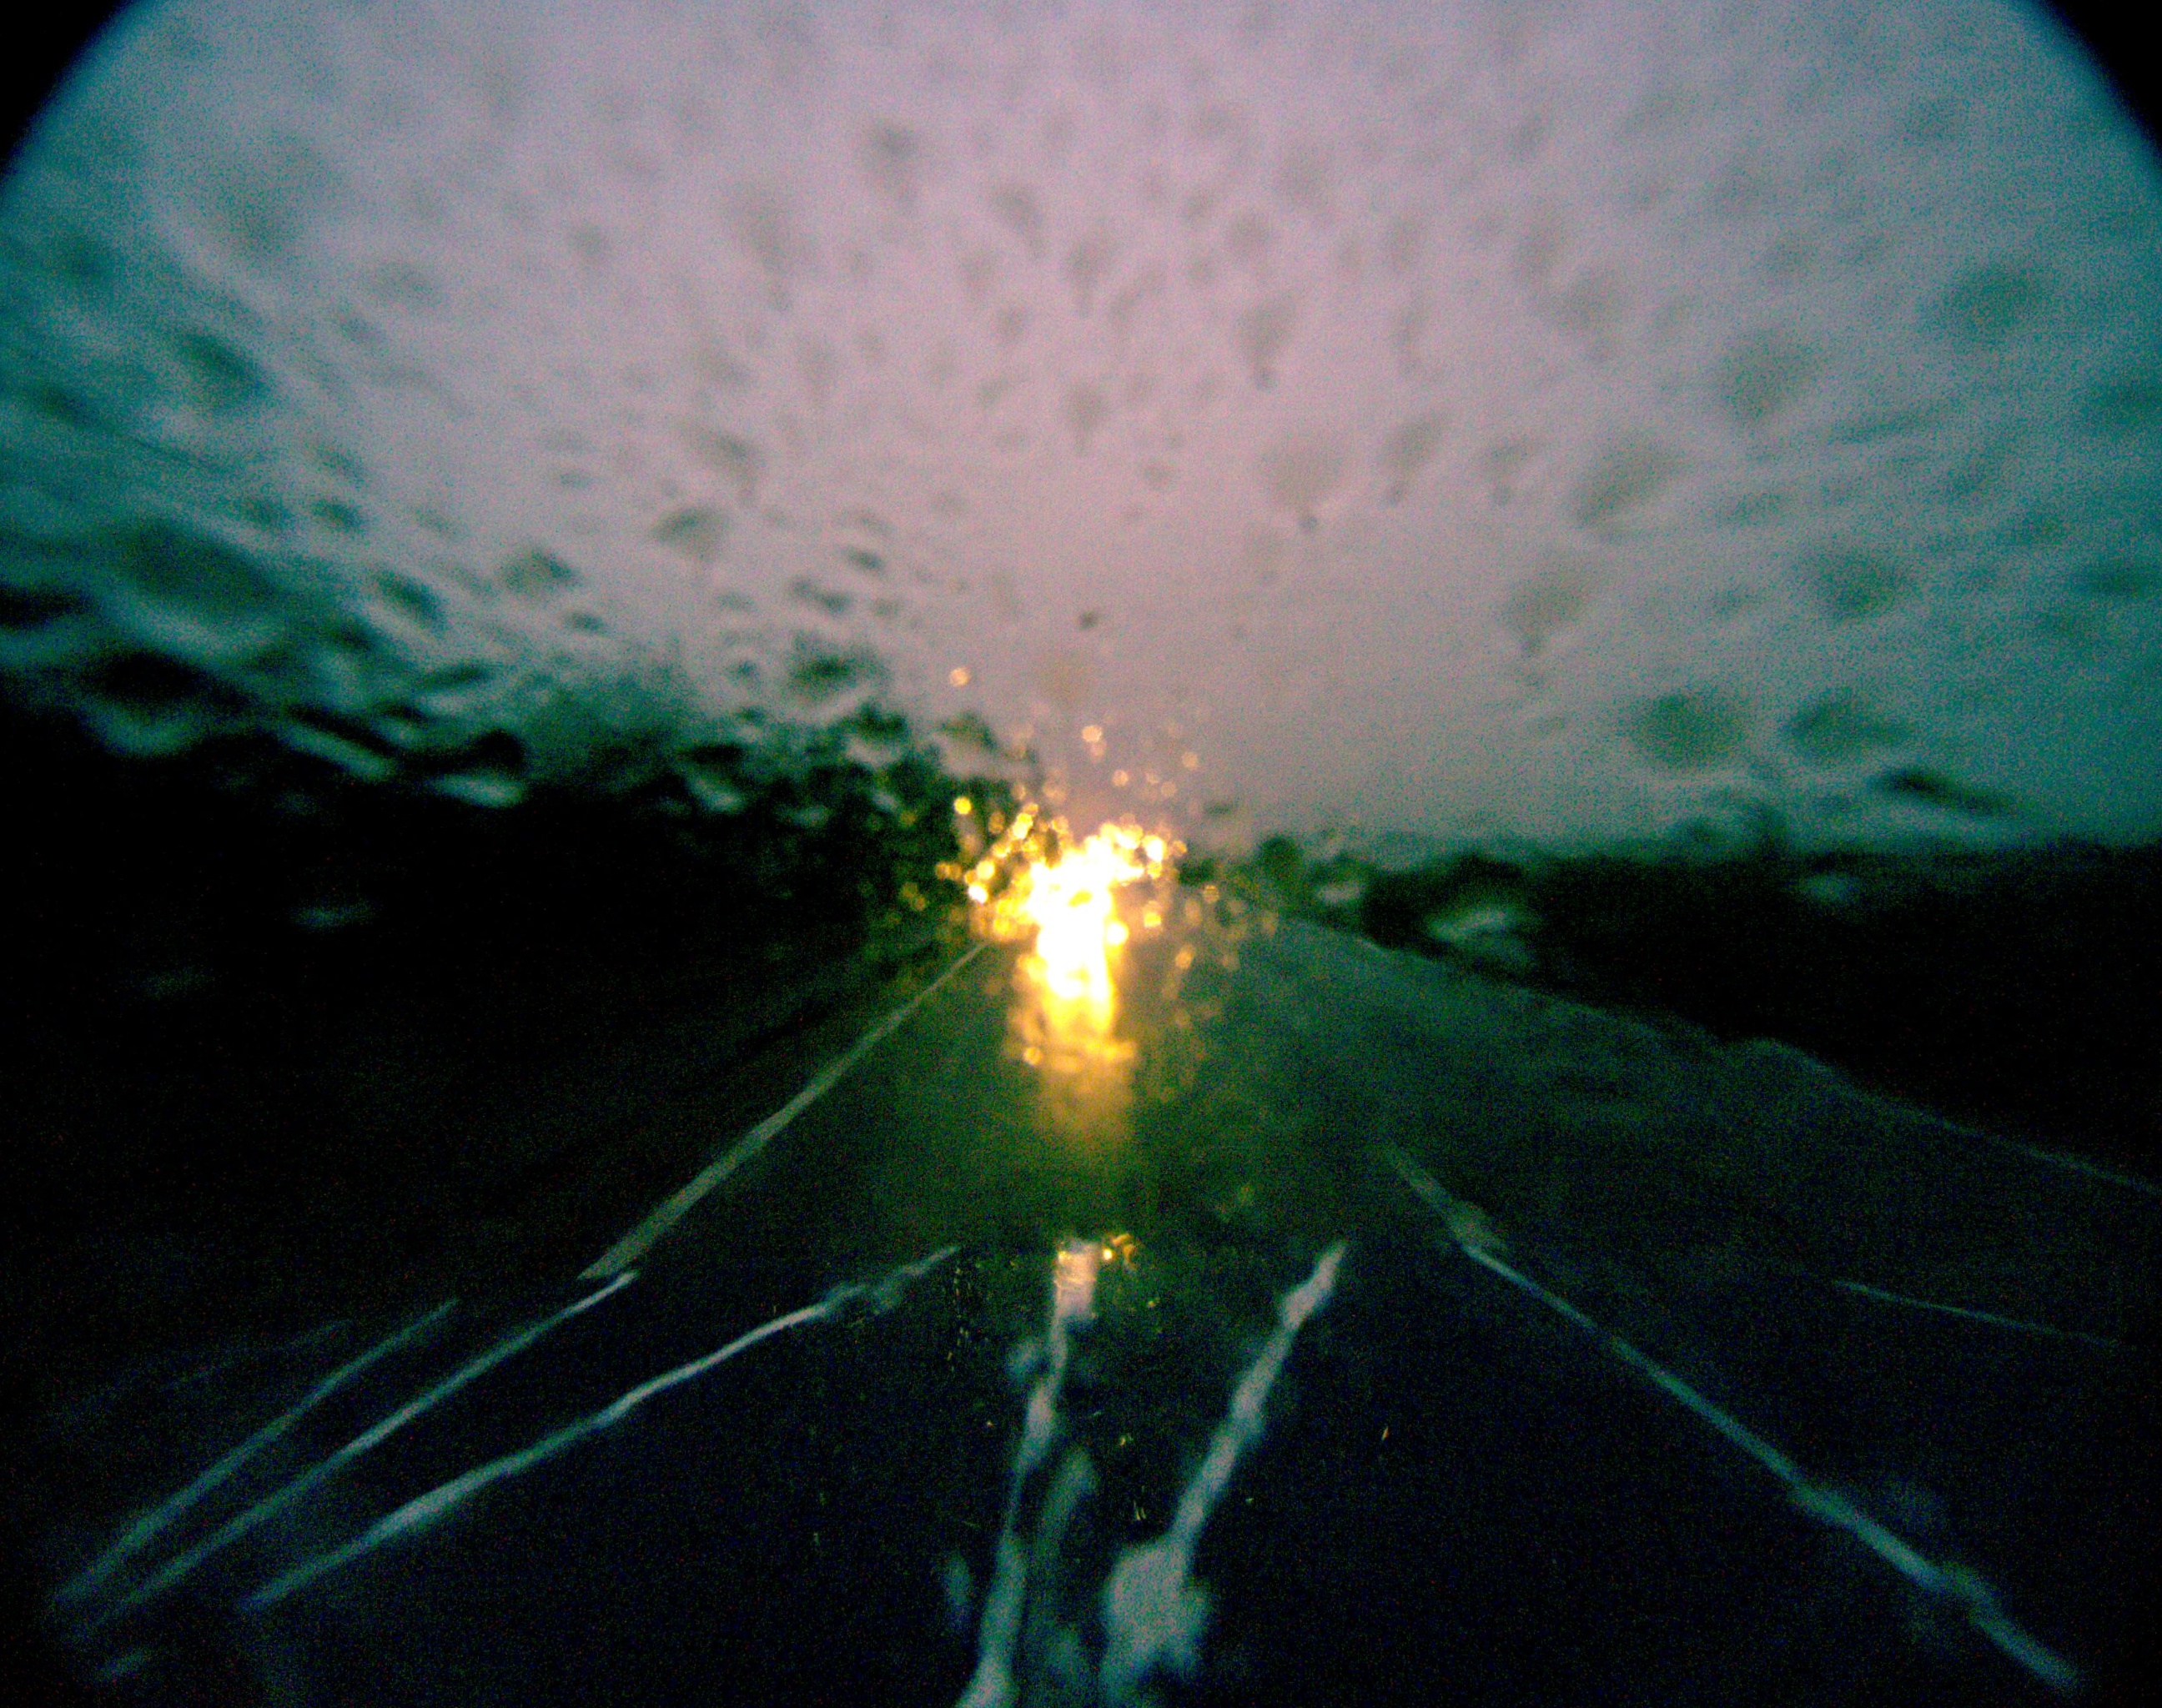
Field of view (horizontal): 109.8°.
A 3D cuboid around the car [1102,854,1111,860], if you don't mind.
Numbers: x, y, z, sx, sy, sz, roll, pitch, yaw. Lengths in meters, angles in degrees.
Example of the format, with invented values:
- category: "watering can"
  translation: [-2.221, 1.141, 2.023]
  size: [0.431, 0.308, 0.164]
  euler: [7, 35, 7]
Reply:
- category: "car"
  translation: [6.338, 0.666, 188.669]
  size: [1.998, 1.364, 4.397]
  euler: [-2, 1, 1]

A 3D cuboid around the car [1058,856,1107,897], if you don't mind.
- category: "car"
  translation: [0.052, 0.882, 31.213]
  size: [1.844, 1.484, 3.956]
  euler: [-2, 1, 0]

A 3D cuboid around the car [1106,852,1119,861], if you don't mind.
- category: "car"
  translation: [5.476, 0.396, 132.142]
  size: [1.998, 1.455, 4.351]
  euler: [3, 1, 1]

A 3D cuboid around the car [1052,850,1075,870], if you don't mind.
- category: "car"
  translation: [-1.603, 0.517, 70.780]
  size: [1.933, 1.740, 4.000]
  euler: [-2, 1, 1]
